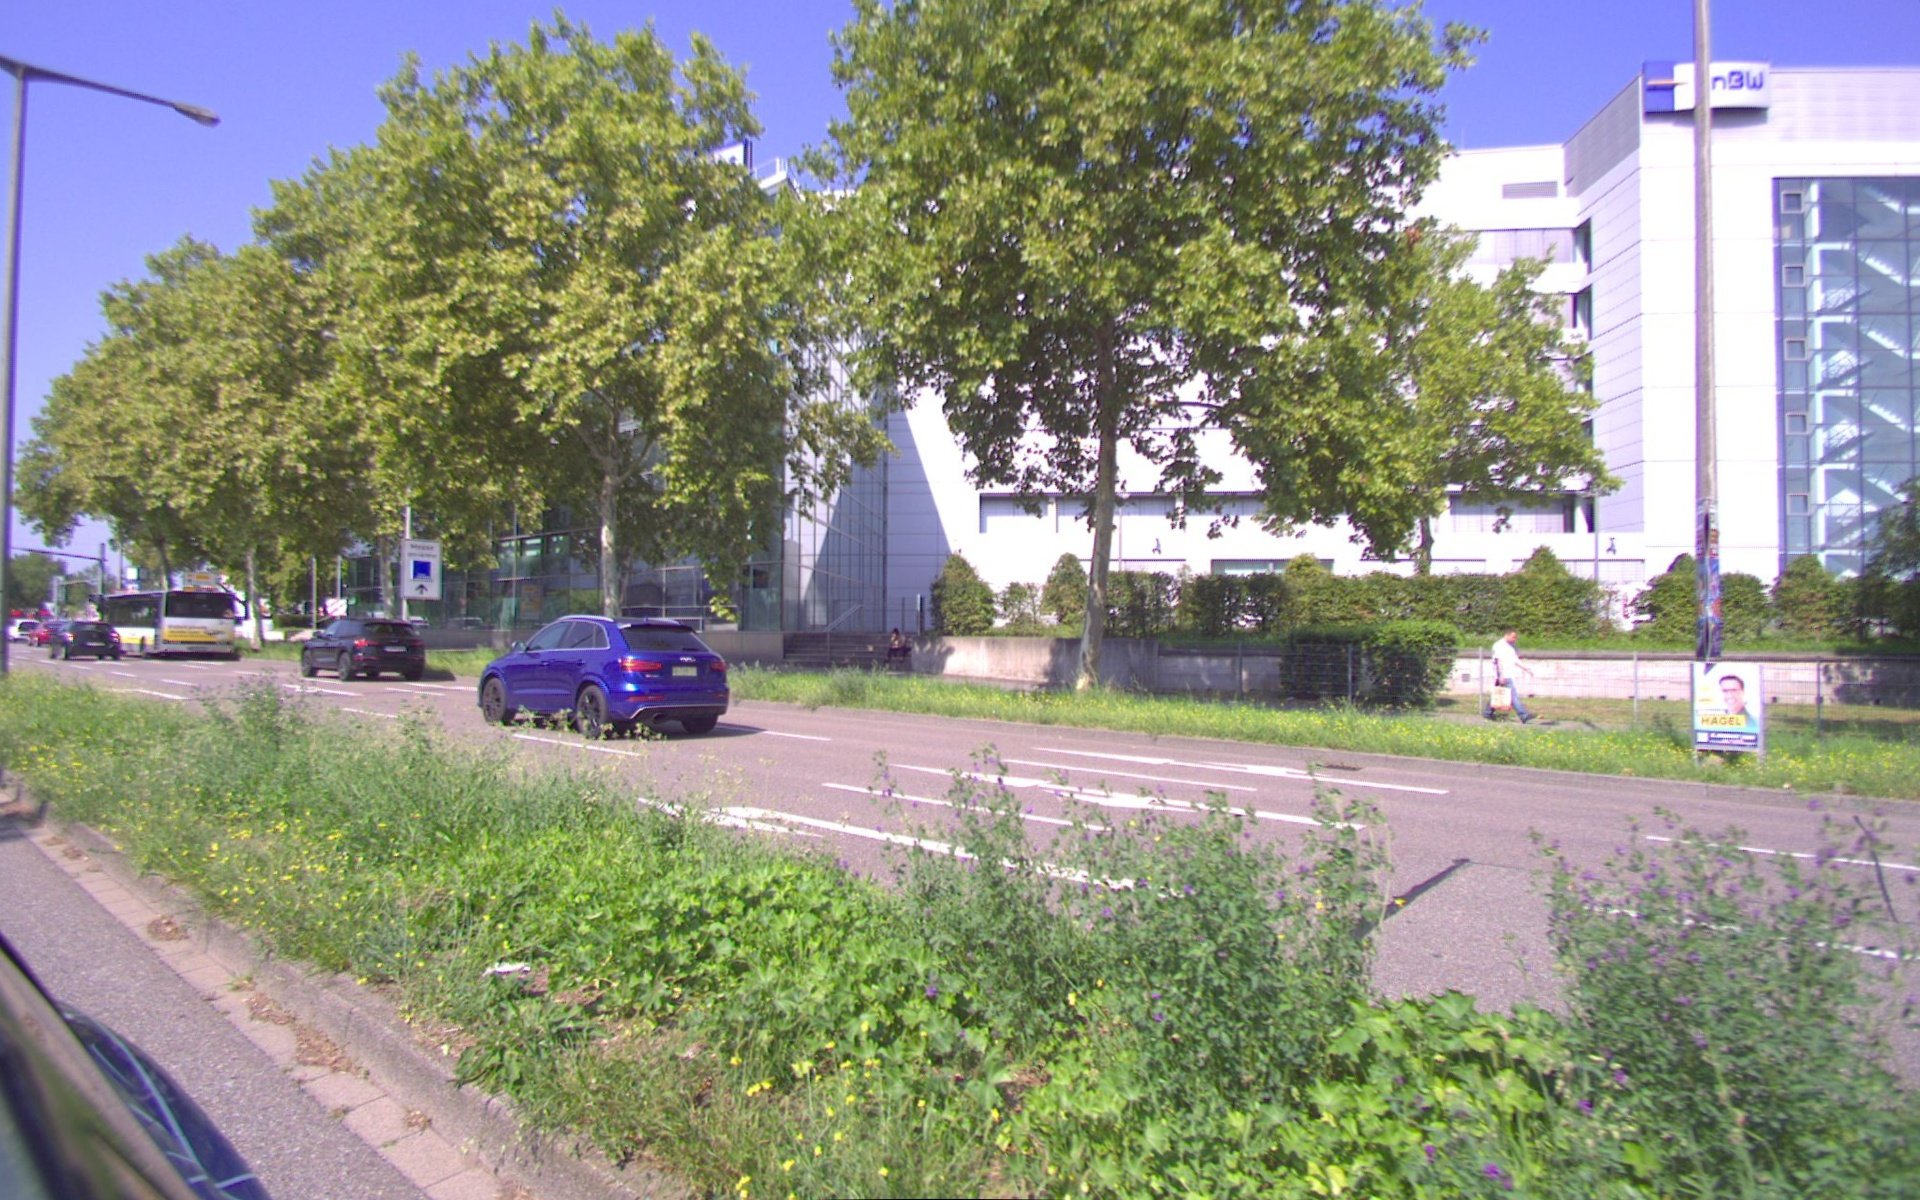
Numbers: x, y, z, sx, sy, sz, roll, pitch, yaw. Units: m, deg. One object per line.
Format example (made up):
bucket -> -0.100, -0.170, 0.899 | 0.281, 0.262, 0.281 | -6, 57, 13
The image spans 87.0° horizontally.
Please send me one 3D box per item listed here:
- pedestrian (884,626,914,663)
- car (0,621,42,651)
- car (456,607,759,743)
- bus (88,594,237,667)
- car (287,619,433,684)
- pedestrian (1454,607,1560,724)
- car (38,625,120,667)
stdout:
pedestrian -> -1.924, 1.389, 31.777 | 0.561, 1.118, 0.728 | -4, -3, 35
car -> -63.214, 2.428, 67.786 | 3.971, 1.910, 1.908 | -1, -4, 39
car -> -4.976, 0.977, 14.040 | 4.342, 1.597, 1.973 | -1, -4, 40
bus -> -33.810, 1.293, 42.668 | 10.896, 2.715, 2.635 | -1, -4, 40
car -> -16.155, 1.370, 27.177 | 4.605, 1.617, 1.827 | -1, -5, 39
pedestrian -> 10.010, 1.181, 18.571 | 1.248, 2.029, 1.017 | -2, -2, -8
car -> -33.141, 1.683, 38.029 | 4.309, 1.501, 1.687 | -1, -2, 40
